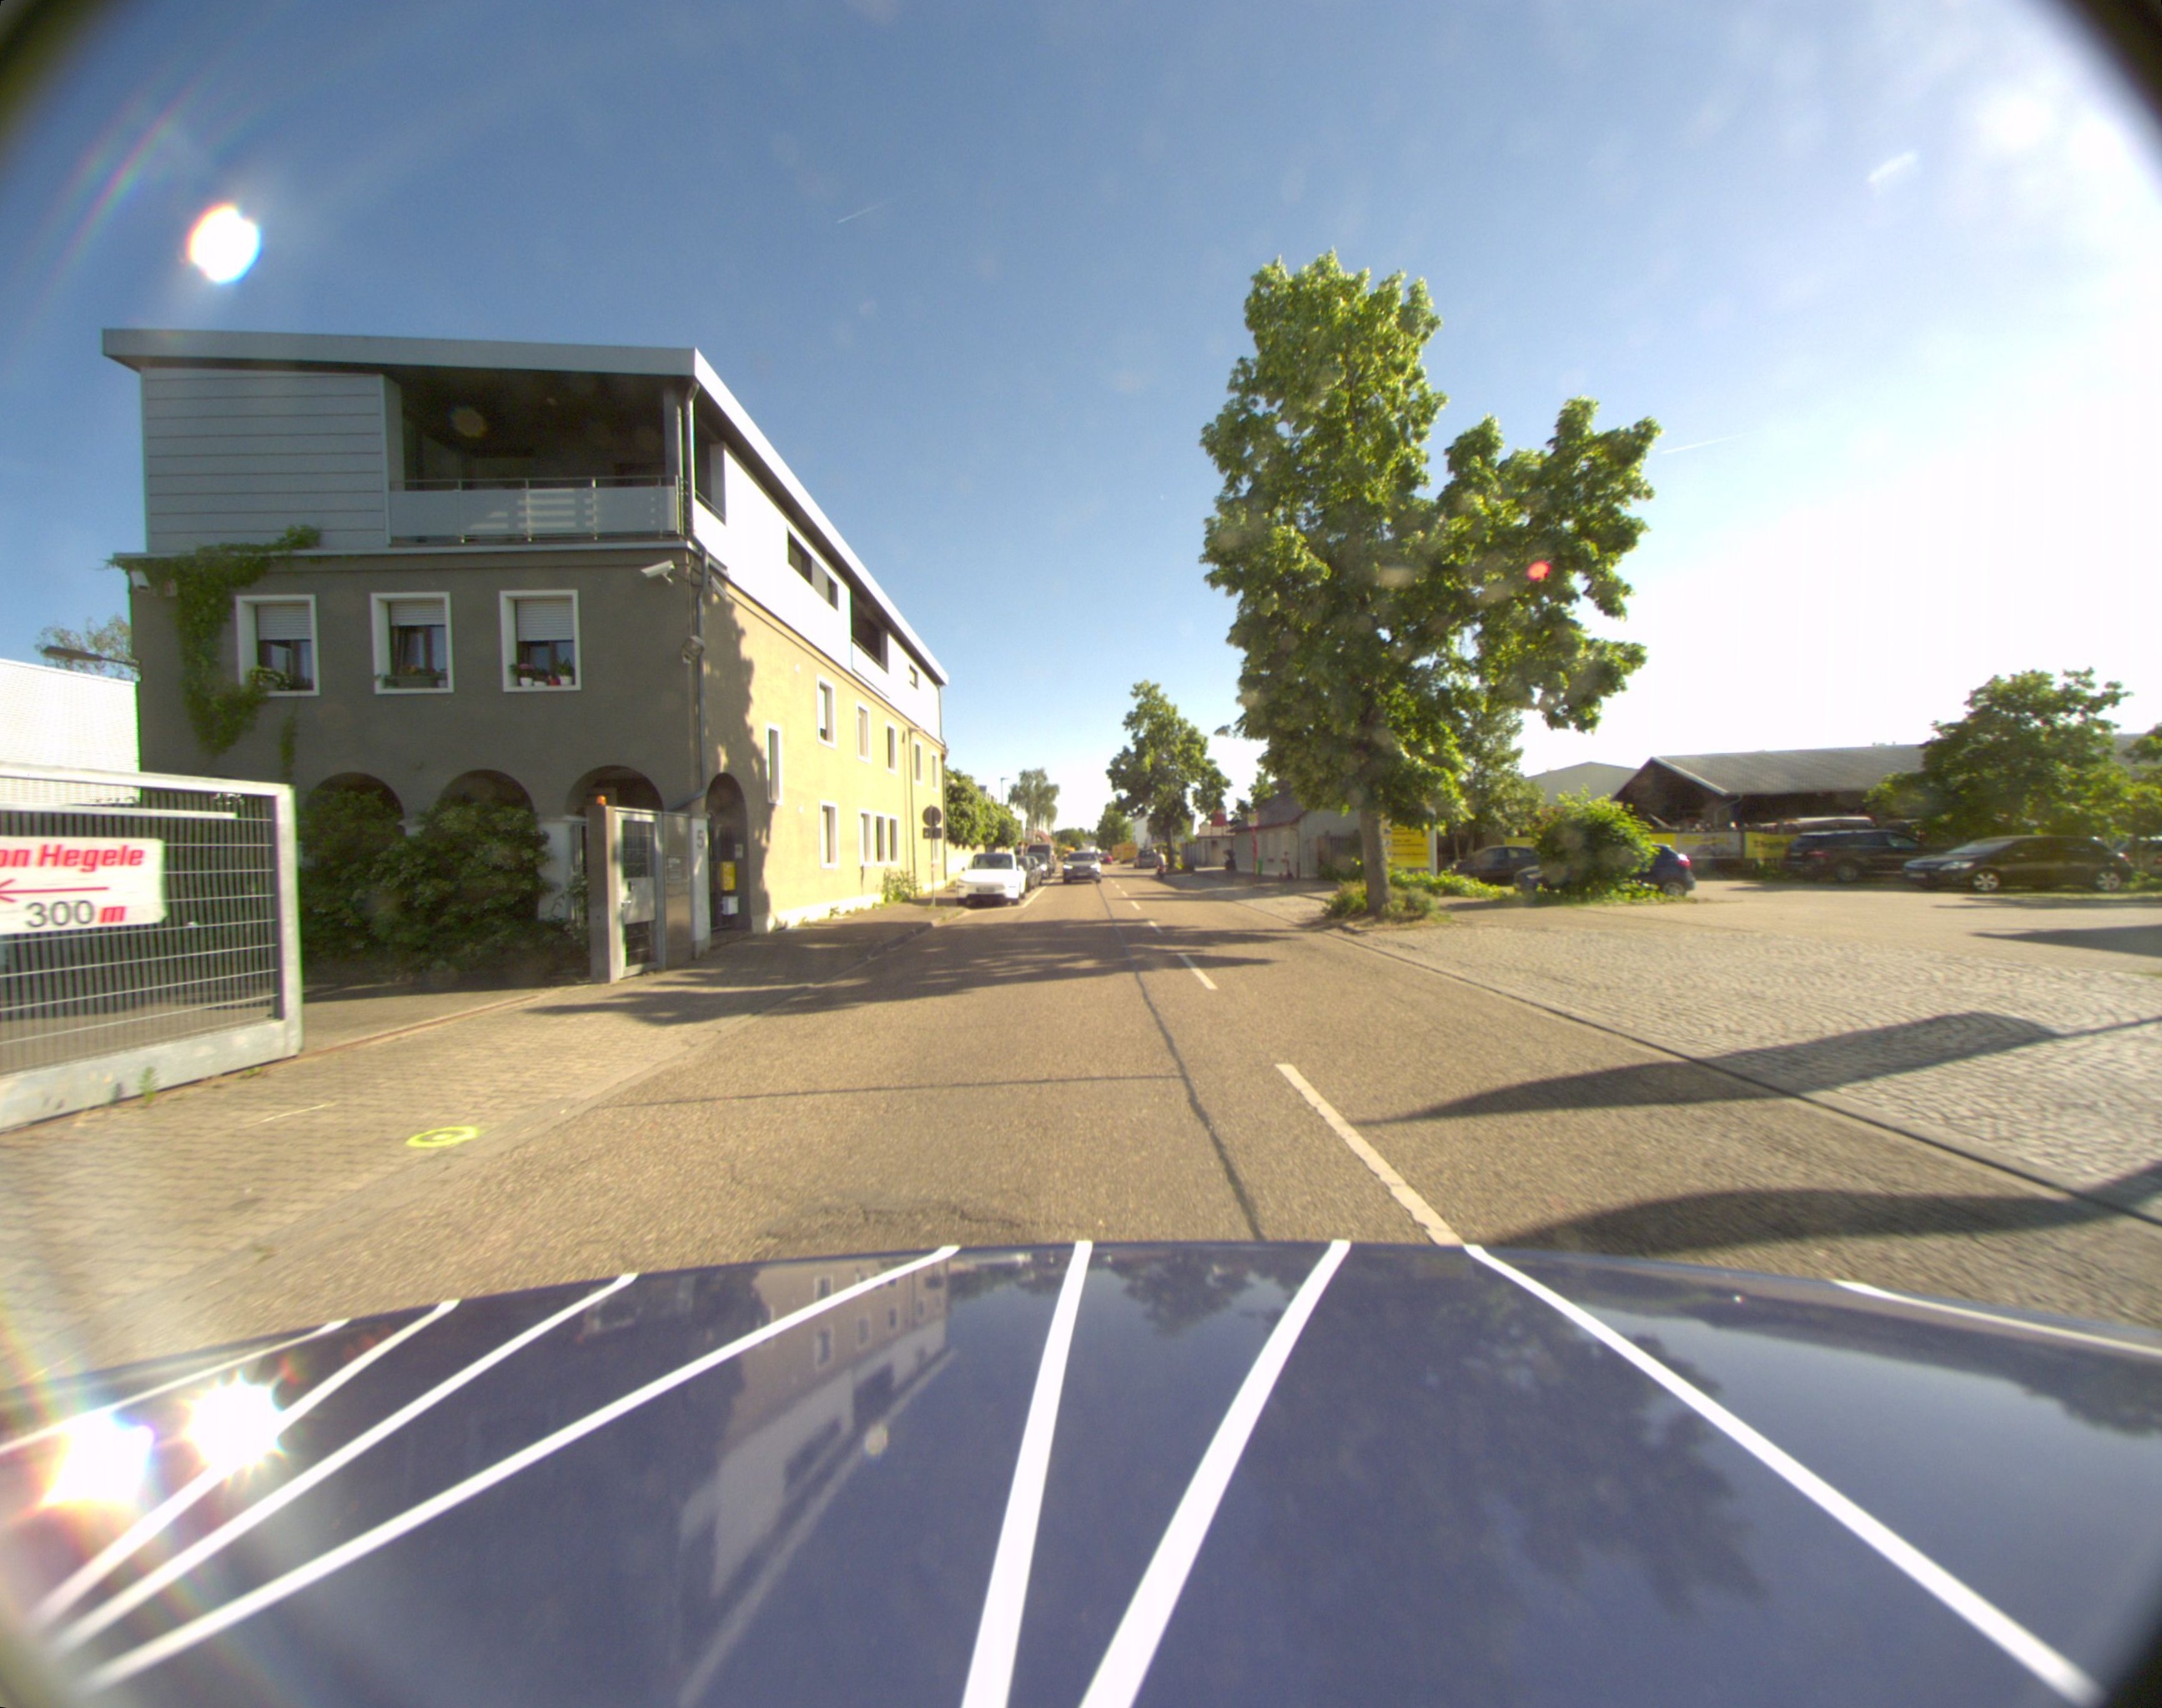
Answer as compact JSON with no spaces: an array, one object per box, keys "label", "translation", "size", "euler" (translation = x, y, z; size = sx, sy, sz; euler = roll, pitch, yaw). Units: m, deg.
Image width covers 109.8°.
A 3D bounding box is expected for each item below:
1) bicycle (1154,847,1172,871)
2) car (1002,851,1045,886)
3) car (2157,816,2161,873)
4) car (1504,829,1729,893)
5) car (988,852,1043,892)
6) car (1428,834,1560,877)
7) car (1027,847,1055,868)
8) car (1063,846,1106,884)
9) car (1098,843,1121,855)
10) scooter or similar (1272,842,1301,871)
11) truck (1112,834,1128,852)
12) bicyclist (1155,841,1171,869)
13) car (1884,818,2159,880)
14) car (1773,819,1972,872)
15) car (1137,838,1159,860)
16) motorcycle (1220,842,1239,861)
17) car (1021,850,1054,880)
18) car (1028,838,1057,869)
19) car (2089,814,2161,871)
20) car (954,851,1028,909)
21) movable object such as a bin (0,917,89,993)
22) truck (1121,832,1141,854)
[{"label":"bicycle","translation":[4.664,0.279,43.285],"size":[0.841,1.233,2.604],"euler":[1,2,3]},{"label":"car","translation":[-2.663,0.655,36.007],"size":[1.663,1.496,4.031],"euler":[-1,1,1]},{"label":"car","translation":[32.722,-0.313,20.527],"size":[4.065,1.629,1.775],"euler":[-1,1,12]},{"label":"car","translation":[13.750,0.182,19.816],"size":[4.351,1.499,2.002],"euler":[-1,1,14]},{"label":"car","translation":[-2.631,0.695,31.527],"size":[1.602,1.464,4.190],"euler":[-1,1,4]},{"label":"car","translation":[15.713,0.047,29.084],"size":[4.067,1.507,1.774],"euler":[-2,1,6]},{"label":"car","translation":[-2.691,0.207,51.773],"size":[1.658,1.311,4.103],"euler":[-1,1,1]},{"label":"car","translation":[0.153,0.493,38.511],"size":[1.999,1.750,5.015],"euler":[-2,1,0]},{"label":"car","translation":[3.543,-0.562,92.522],"size":[1.872,1.412,4.535],"euler":[1,1,14]},{"label":"scooter or similar","translation":[9.309,0.092,34.415],"size":[0.484,1.263,1.576],"euler":[-2,1,-17]},{"label":"truck","translation":[7.143,-2.023,139.342],"size":[2.286,3.012,5.909],"euler":[-7,2,1]},{"label":"bicyclist","translation":[4.677,0.048,43.356],"size":[0.841,1.534,1.136],"euler":[1,2,3]},{"label":"car","translation":[25.422,-0.128,20.754],"size":[4.450,1.499,2.001],"euler":[-1,1,12]},{"label":"car","translation":[26.824,-0.286,25.928],"size":[4.325,1.646,2.001],"euler":[-1,1,12]},{"label":"car","translation":[6.107,-0.491,69.709],"size":[1.779,1.838,4.615],"euler":[-4,1,3]},{"label":"motorcycle","translation":[10.037,-0.206,51.445],"size":[0.701,1.226,2.538],"euler":[-4,1,0]},{"label":"car","translation":[-2.635,0.641,46.706],"size":[1.686,1.604,4.204],"euler":[-3,1,1]},{"label":"car","translation":[-2.954,-0.080,59.693],"size":[1.896,2.247,5.145],"euler":[-1,1,1]},{"label":"car","translation":[33.261,-0.392,22.419],"size":[4.065,1.629,1.775],"euler":[-1,1,12]},{"label":"car","translation":[-2.819,0.762,24.826],"size":[1.937,1.635,4.768],"euler":[-1,1,-1]},{"label":"movable object such as a bin","translation":[-15.093,1.435,10.913],"size":[0.616,0.967,0.749],"euler":[-2,3,1]},{"label":"truck","translation":[6.615,-1.517,101.291],"size":[2.173,2.698,5.748],"euler":[-3,2,1]}]
